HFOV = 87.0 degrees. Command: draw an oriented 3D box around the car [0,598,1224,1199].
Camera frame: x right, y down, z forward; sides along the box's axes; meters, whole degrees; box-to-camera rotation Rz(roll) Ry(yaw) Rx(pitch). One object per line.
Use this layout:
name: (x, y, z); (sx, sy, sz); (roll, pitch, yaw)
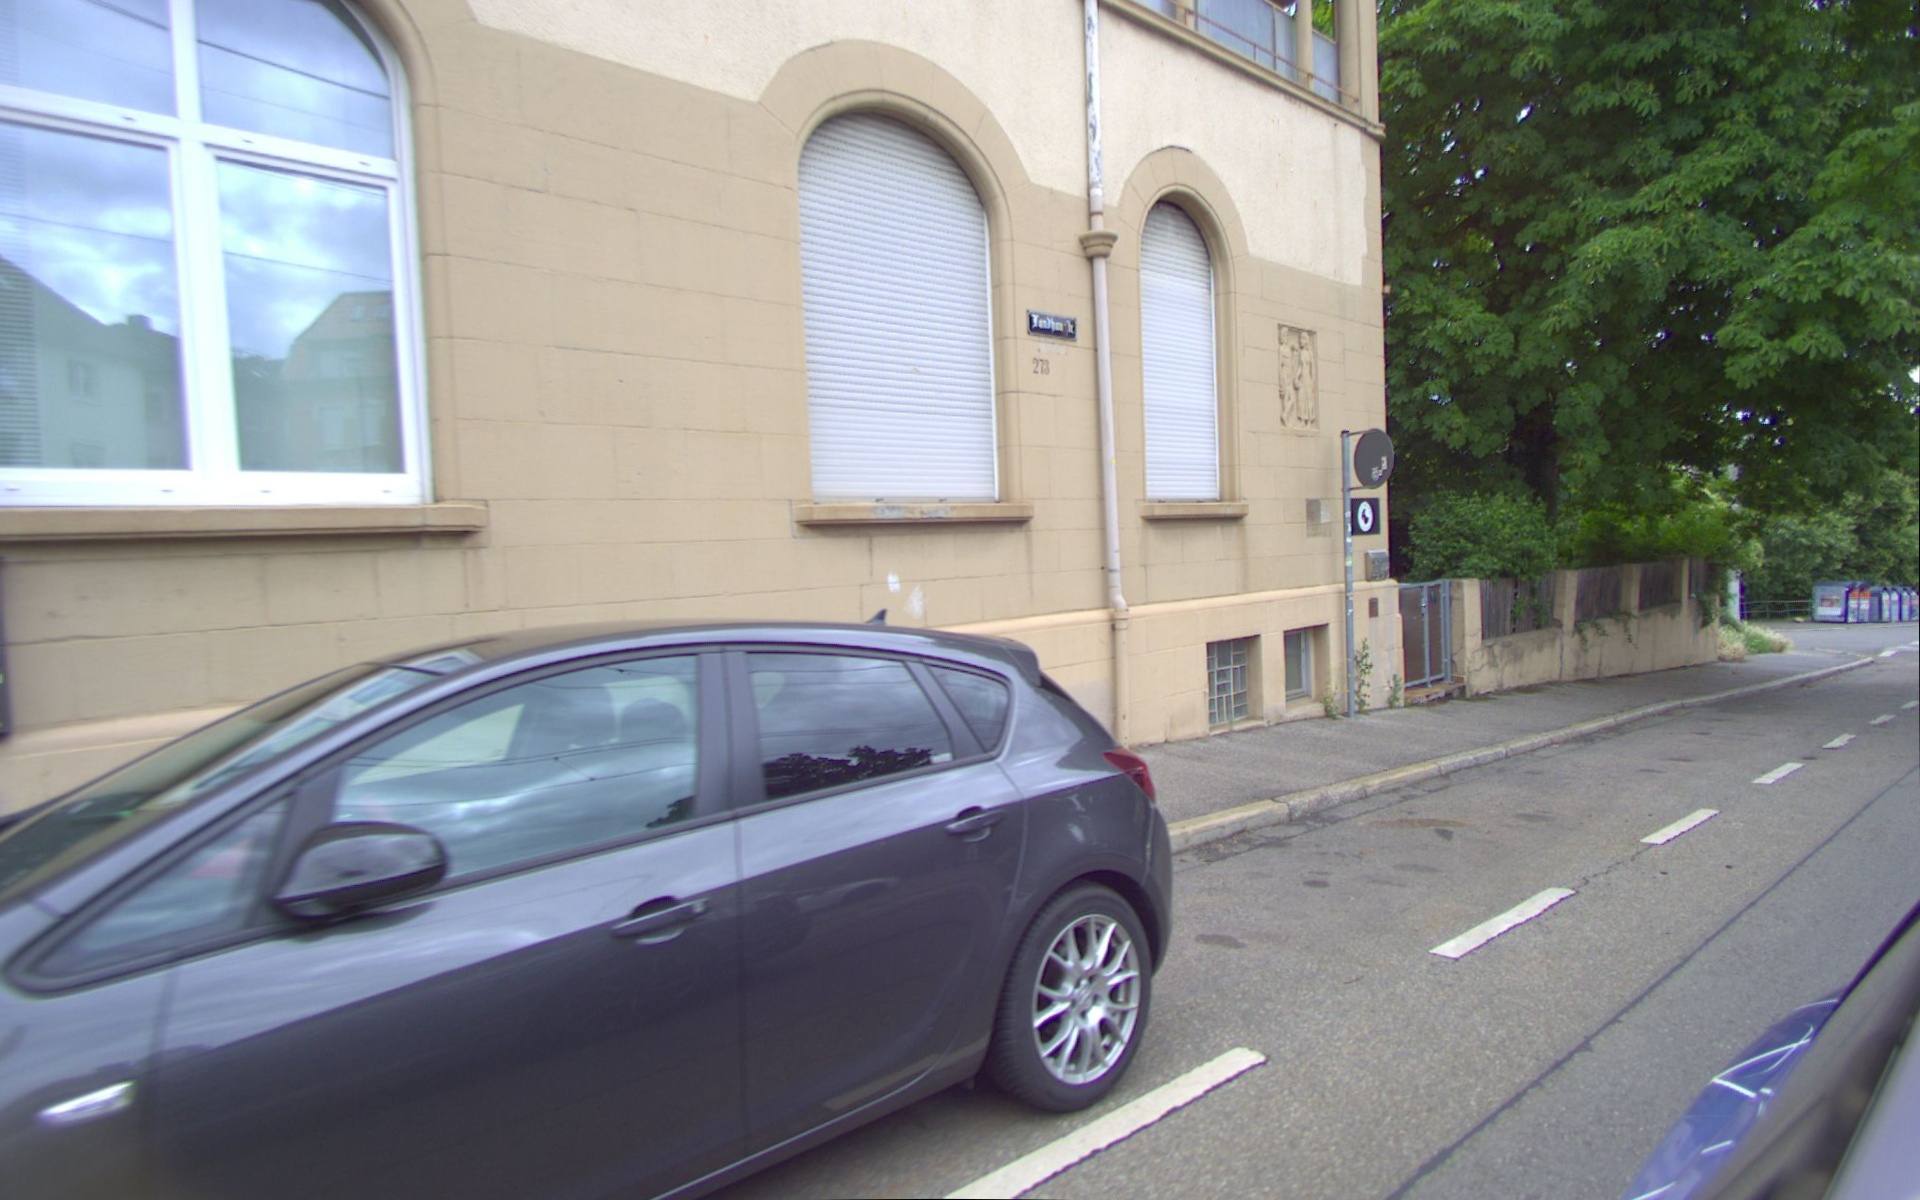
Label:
car: (-1.295, 0.766, 2.702); (4.095, 1.421, 1.842); (-1, -1, -41)
